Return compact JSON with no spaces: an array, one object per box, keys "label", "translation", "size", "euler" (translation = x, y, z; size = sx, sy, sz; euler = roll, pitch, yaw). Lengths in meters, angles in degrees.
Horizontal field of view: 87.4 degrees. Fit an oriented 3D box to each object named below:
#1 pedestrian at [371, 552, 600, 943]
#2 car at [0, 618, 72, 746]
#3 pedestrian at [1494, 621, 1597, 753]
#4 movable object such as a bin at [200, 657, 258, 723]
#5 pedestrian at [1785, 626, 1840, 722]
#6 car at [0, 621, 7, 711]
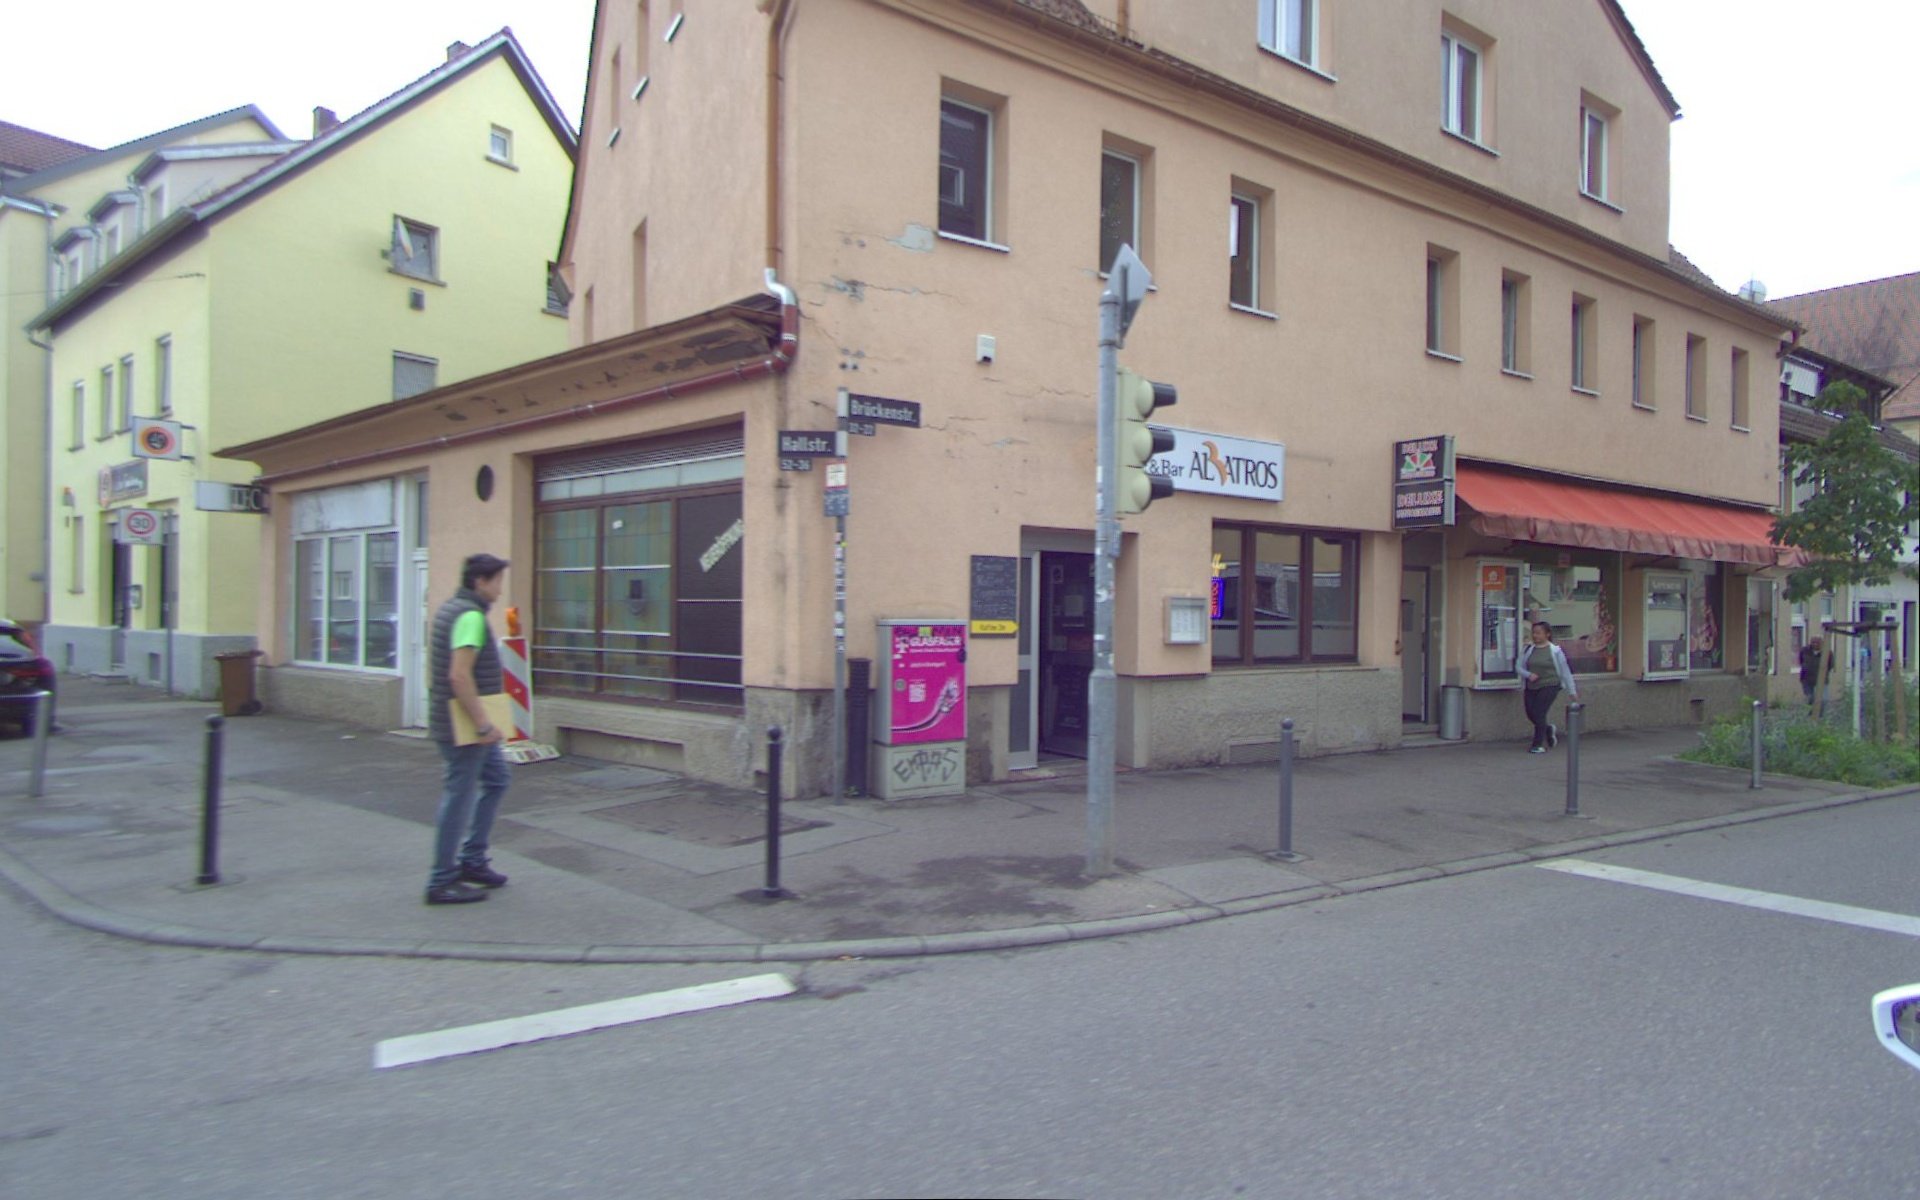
[{"label":"pedestrian","translation":[-2.427,0.674,5.130],"size":[0.971,1.778,0.735],"euler":[1,0,-30]},{"label":"car","translation":[-13.024,0.966,12.739],"size":[4.319,1.463,1.904],"euler":[0,-1,38]},{"label":"pedestrian","translation":[7.320,1.051,12.566],"size":[0.972,1.555,0.734],"euler":[1,0,-32]},{"label":"movable object such as a bin","translation":[-10.401,1.269,14.312],"size":[0.562,0.890,0.723],"euler":[1,-1,-29]},{"label":"pedestrian","translation":[15.238,1.303,17.967],"size":[0.721,1.650,0.755],"euler":[1,0,39]},{"label":"car","translation":[-17.514,1.059,16.603],"size":[3.625,1.463,1.906],"euler":[0,-1,35]}]
